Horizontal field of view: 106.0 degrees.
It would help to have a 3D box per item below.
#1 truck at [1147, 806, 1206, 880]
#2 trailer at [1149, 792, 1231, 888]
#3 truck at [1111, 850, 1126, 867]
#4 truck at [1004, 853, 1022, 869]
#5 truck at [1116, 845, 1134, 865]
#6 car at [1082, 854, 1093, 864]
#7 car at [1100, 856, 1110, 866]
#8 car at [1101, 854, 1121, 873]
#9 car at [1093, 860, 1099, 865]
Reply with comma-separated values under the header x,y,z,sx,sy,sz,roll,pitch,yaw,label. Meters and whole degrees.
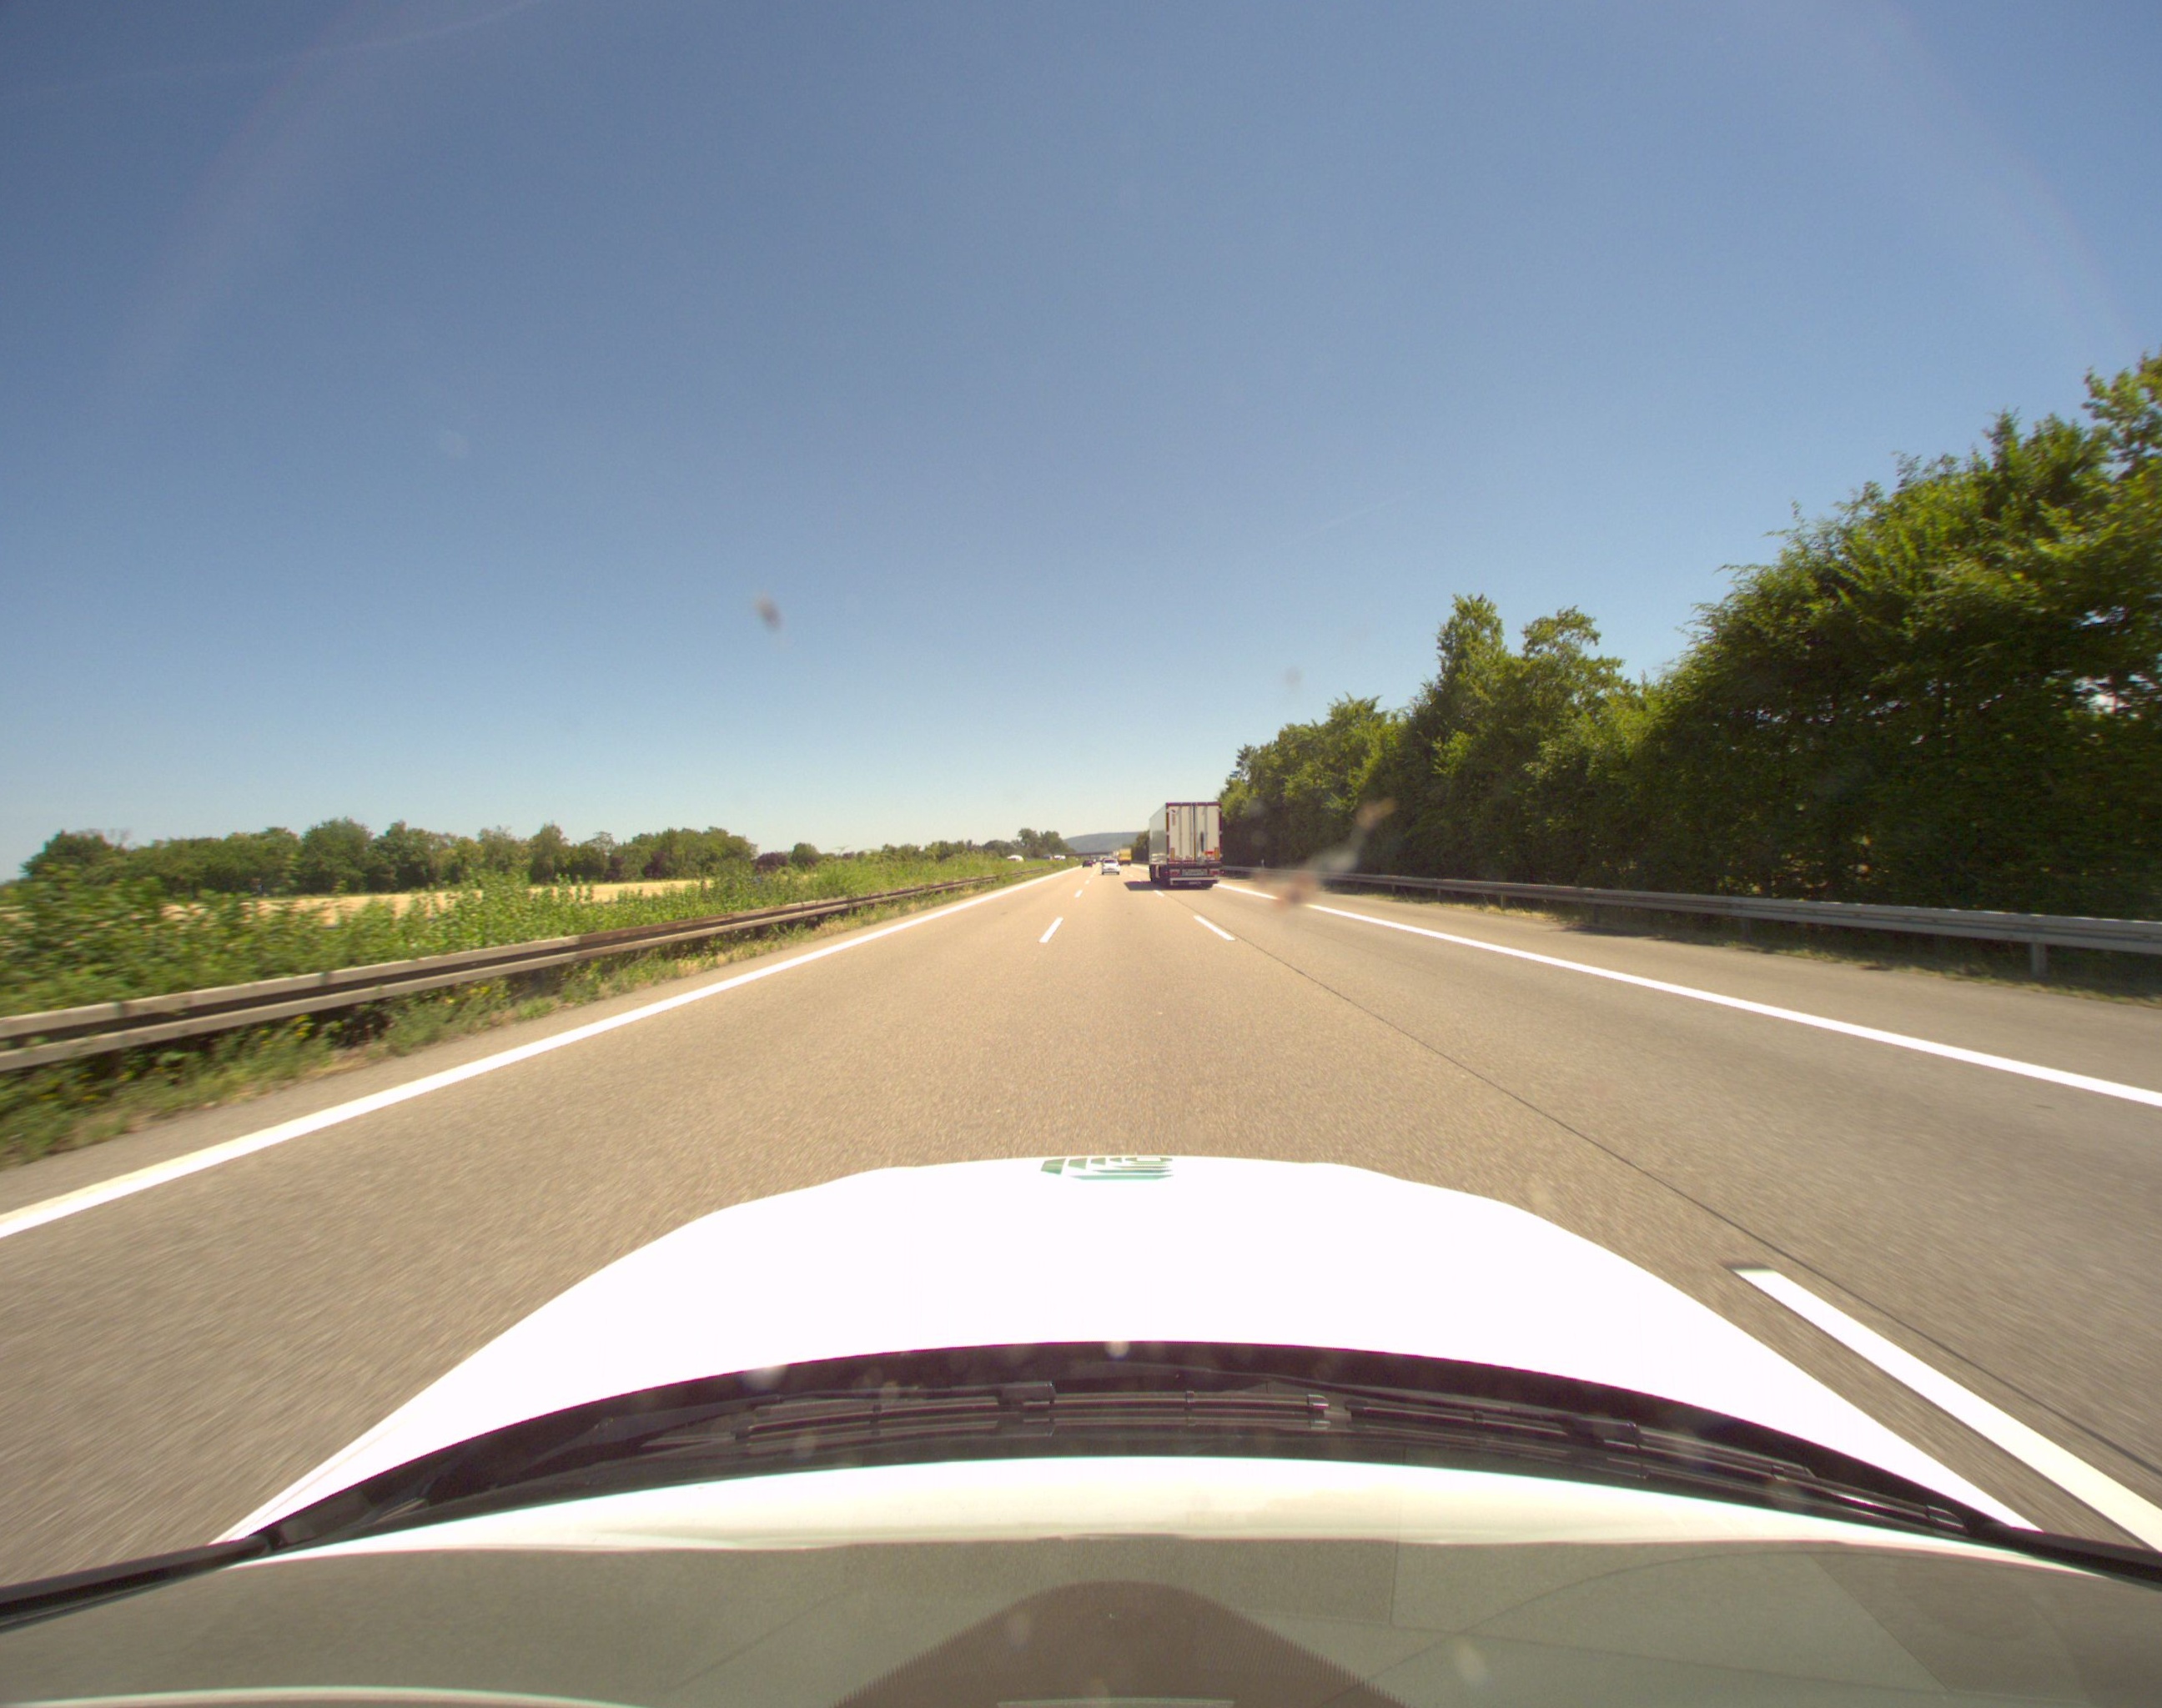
x,y,z,sx,sy,sz,roll,pitch,yaw,label
5.895,-0.622,51.195,3.205,4.345,6.595,0,0,3,truck
5.558,-0.629,44.095,3.205,4.345,13.638,0,0,3,trailer
11.218,1.351,243.118,4.255,4.652,13.866,-1,0,2,truck
-15.009,1.575,180.165,3.216,3.516,5.435,-2,0,1,truck
9.869,0.279,183.600,3.857,4.345,13.866,0,0,2,truck
1.229,0.916,149.820,1.986,1.712,4.001,0,0,1,car
4.129,1.146,142.200,1.780,1.712,4.001,0,0,1,car
2.850,0.852,77.702,1.726,1.684,4.001,-2,0,1,car
4.277,2.448,234.537,1.788,1.551,4.002,-1,0,2,car
